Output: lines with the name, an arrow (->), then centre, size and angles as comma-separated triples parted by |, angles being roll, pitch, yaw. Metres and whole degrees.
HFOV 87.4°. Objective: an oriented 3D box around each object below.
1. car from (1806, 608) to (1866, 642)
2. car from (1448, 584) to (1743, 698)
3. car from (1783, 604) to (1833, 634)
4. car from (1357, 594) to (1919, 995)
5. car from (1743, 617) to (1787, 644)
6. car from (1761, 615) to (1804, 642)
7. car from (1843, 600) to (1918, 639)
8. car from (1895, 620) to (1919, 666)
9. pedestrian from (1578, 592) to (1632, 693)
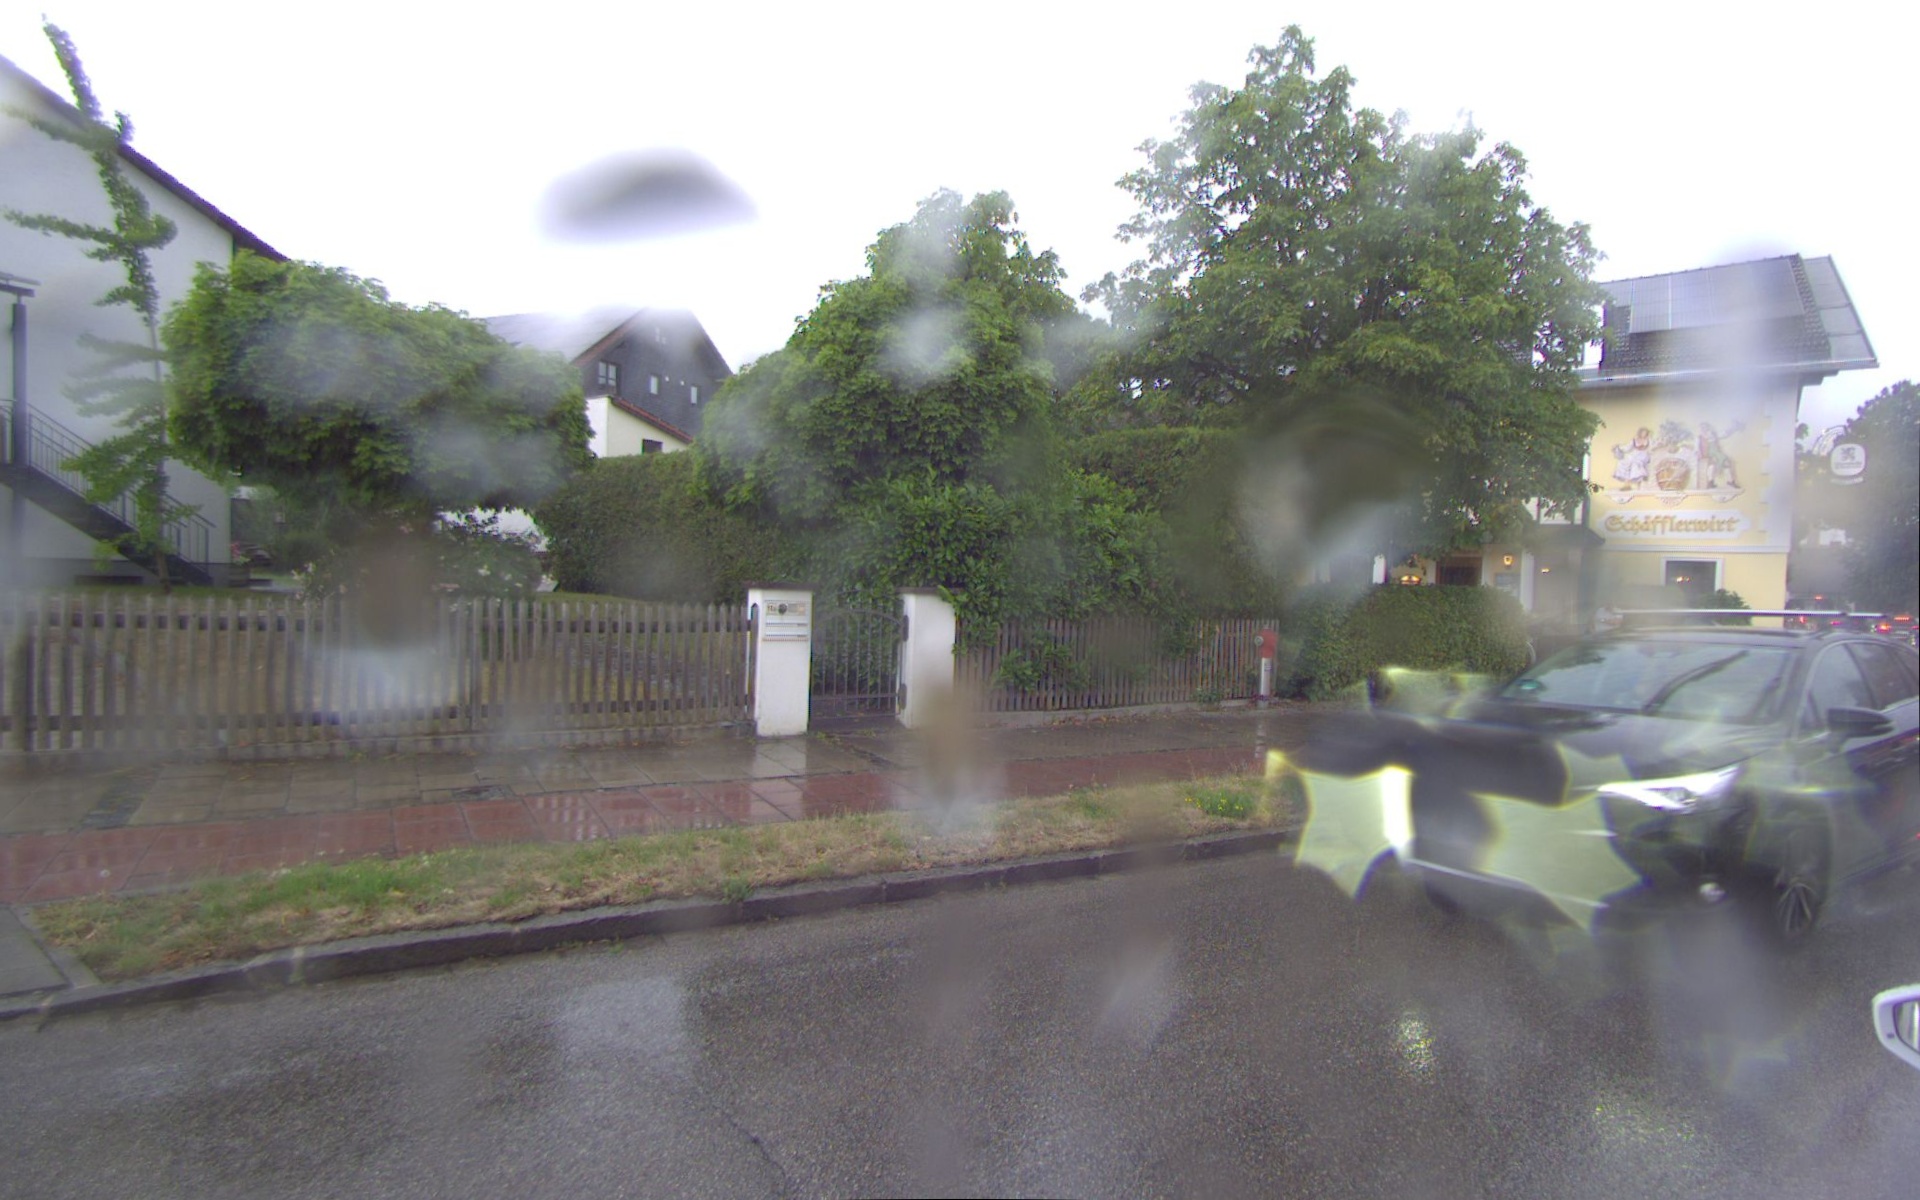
car -> 55.696, 1.557, 63.947 | 2.139, 1.925, 4.999 | 3, 2, 33
car -> 11.854, 0.664, 19.041 | 4.413, 1.589, 1.834 | 6, 5, 32
car -> 62.007, 1.354, 73.550 | 2.139, 1.925, 4.999 | 3, 2, 33
car -> 4.234, 0.788, 5.708 | 4.144, 1.541, 1.628 | 1, -1, -34
car -> 55.234, 2.053, 68.969 | 1.896, 1.767, 4.181 | 0, -1, 33
car -> 67.729, 2.322, 82.802 | 2.139, 1.925, 4.999 | 3, 2, 33
car -> 49.504, 1.006, 54.125 | 2.139, 1.925, 4.999 | 3, 2, 33
car -> 44.596, 1.990, 45.711 | 2.139, 1.925, 4.999 | 3, 2, 33
pedestrian -> 11.357, 0.739, 17.690 | 0.547, 1.712, 0.488 | 2, 4, -30
